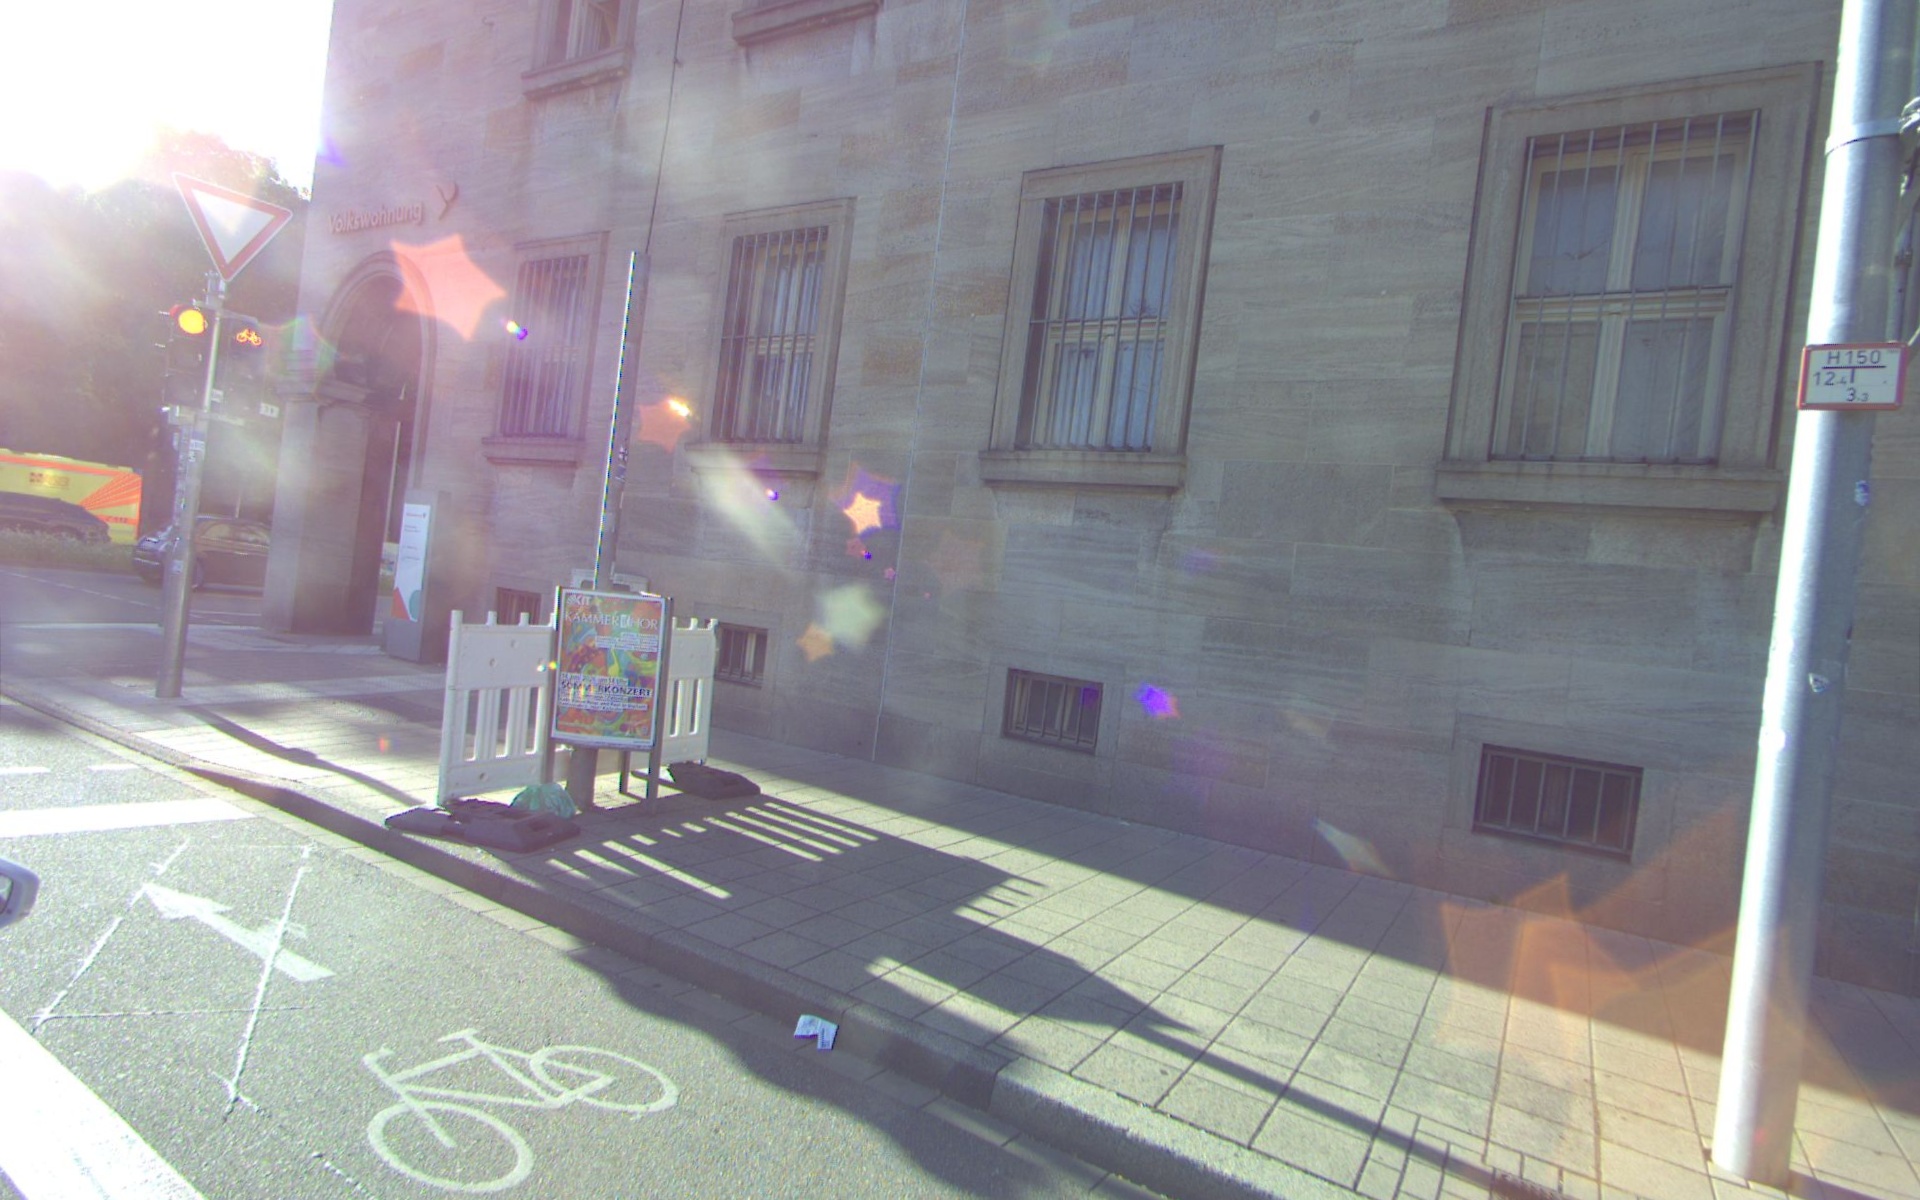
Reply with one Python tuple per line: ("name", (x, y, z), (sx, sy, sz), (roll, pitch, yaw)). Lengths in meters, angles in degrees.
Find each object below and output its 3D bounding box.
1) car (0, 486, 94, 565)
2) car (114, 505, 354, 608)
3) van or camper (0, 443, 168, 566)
("car", (-24.404, -2.062, 24.657), (1.857, 1.665, 4.324), (6, -3, 32))
("car", (-14.626, -0.820, 20.455), (1.496, 1.523, 3.539), (7, -2, 29))
("van or camper", (-28.005, -3.016, 29.559), (2.866, 2.893, 6.716), (6, -3, 36))
